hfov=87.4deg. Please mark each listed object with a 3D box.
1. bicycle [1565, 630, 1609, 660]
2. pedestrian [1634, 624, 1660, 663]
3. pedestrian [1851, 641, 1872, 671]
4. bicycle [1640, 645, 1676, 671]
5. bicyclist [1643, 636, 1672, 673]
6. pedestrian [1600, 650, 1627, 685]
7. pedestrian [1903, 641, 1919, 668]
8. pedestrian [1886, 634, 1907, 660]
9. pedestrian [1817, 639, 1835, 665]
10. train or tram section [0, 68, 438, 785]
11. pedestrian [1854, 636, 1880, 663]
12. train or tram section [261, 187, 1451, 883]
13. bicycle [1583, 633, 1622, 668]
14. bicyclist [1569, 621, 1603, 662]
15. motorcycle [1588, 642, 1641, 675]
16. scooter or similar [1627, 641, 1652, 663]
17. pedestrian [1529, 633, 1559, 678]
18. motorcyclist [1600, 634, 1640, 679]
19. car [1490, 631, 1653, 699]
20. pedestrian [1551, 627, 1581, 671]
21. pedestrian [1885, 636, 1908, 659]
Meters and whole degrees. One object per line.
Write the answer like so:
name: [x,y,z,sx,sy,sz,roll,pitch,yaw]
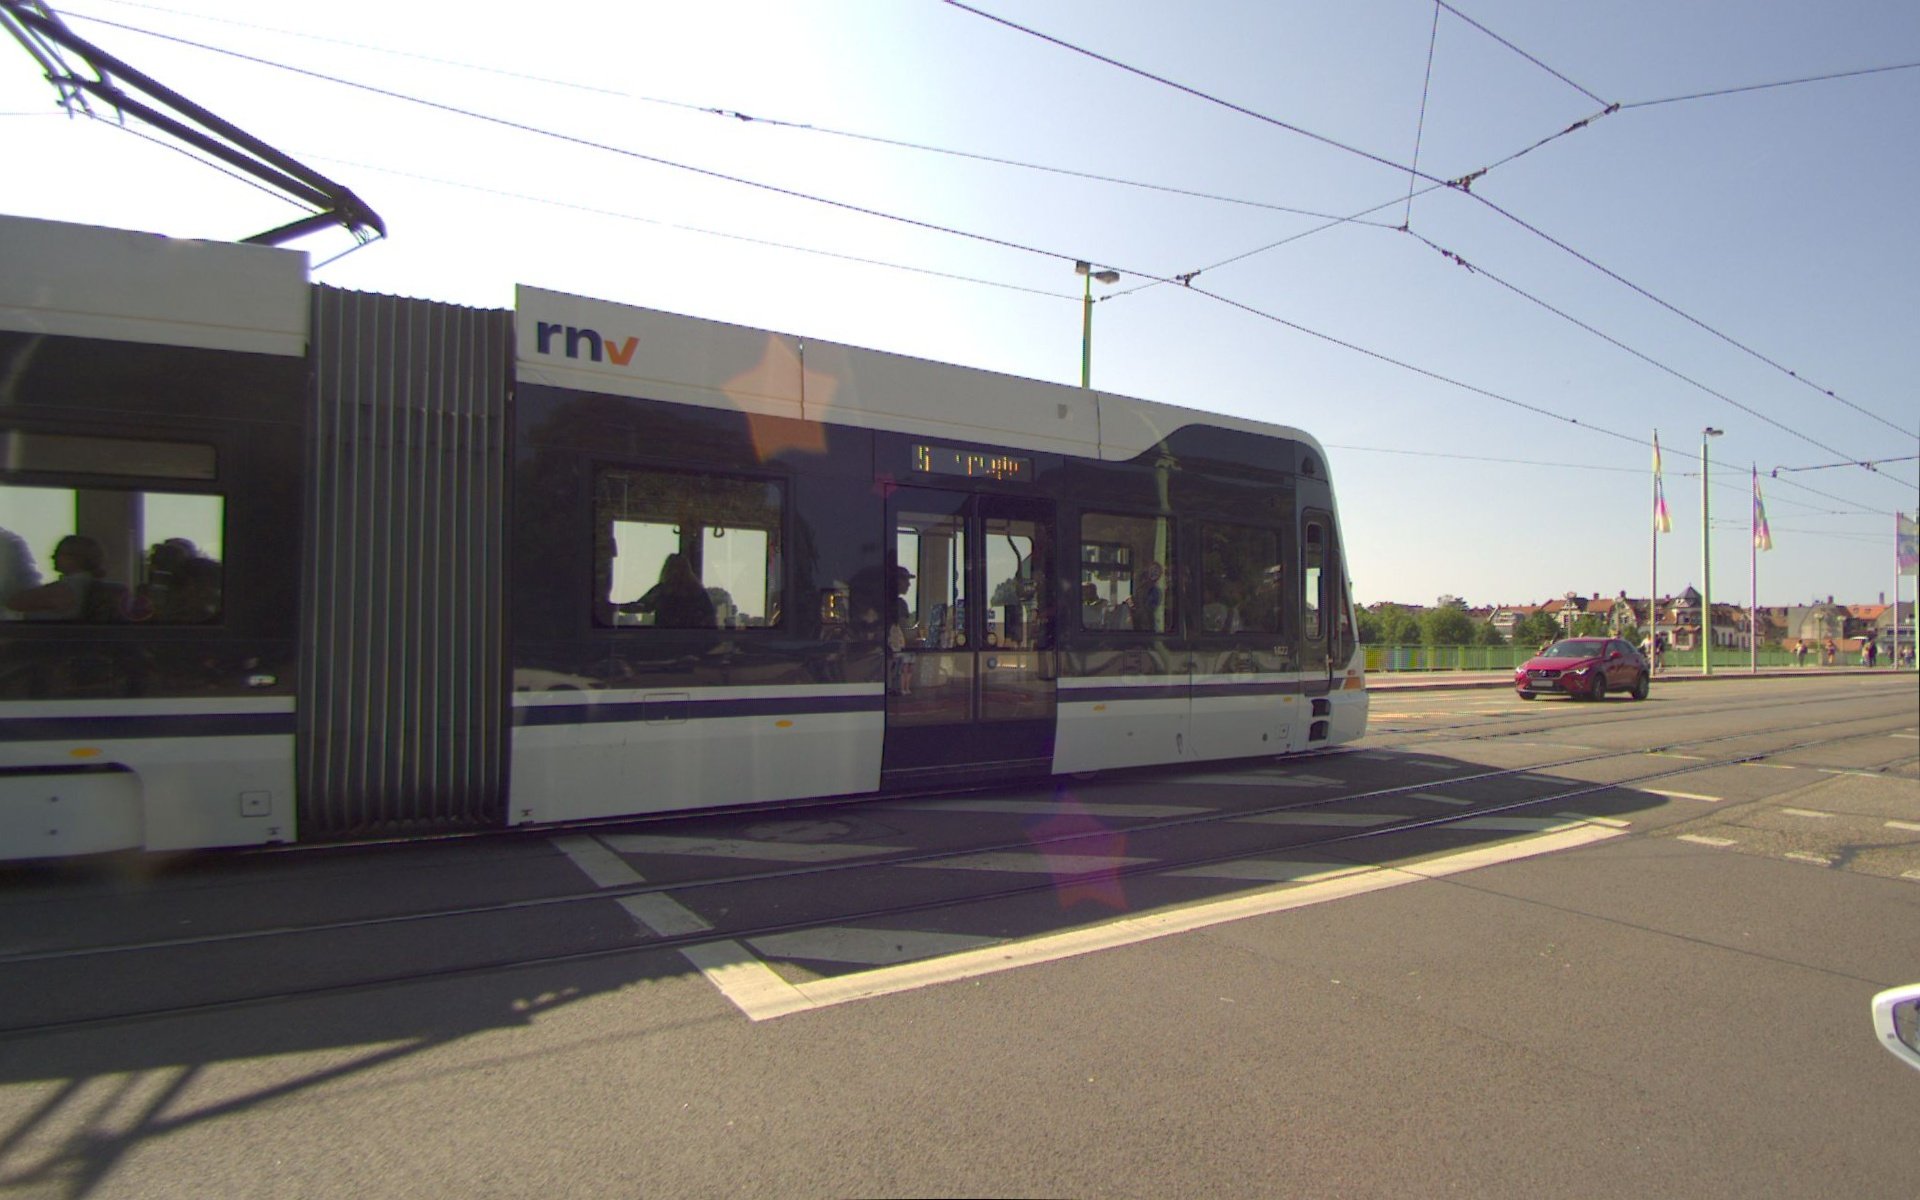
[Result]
bicycle: [24.933,1.764,39.946,1.900,1.129,0.754,0,1,-35]
pedestrian: [34.172,2.175,49.995,0.966,1.878,0.733,2,1,-38]
pedestrian: [63.845,3.953,71.120,1.093,2.040,0.960,2,-2,-41]
bicycle: [31.290,2.589,45.021,1.902,1.128,0.753,3,-3,-36]
bicyclist: [31.251,2.440,44.993,0.764,1.630,0.871,3,-2,-36]
pedestrian: [28.232,2.901,43.381,0.891,1.474,0.738,3,-2,-36]
pedestrian: [73.284,4.153,77.114,1.284,2.040,1.089,2,-2,-38]
pedestrian: [73.594,3.679,78.937,1.119,2.040,1.089,2,-2,-38]
pedestrian: [59.771,3.579,69.349,1.165,1.744,0.748,3,-2,-38]
train or tram section: [-8.272,-0.926,5.284,9.472,3.729,2.401,1,-2,-20]
pedestrian: [62.218,3.392,68.906,1.284,1.781,1.089,2,0,-38]
train or tram section: [0.390,-0.199,9.837,11.727,3.827,2.455,2,-2,-34]
bicycle: [27.997,2.196,43.777,2.144,1.418,0.699,2,2,-39]
bicyclist: [24.914,1.648,39.969,0.764,1.630,0.872,0,-2,-34]
motorcycle: [21.471,1.915,32.941,1.934,1.038,0.838,3,-1,-38]
scooter or similar: [33.447,2.555,49.434,0.825,1.043,0.733,2,1,-38]
pedestrian: [25.570,2.422,43.977,1.111,1.873,0.733,2,1,-38]
motorcyclist: [21.837,1.856,33.227,0.890,1.420,0.838,2,-1,-38]
car: [15.182,1.598,24.876,4.148,1.534,1.981,3,-3,-35]
pedestrian: [26.217,2.118,43.435,0.949,1.808,0.733,2,1,-38]
pedestrian: [73.498,3.717,78.836,1.282,1.752,1.090,2,-1,-34]
